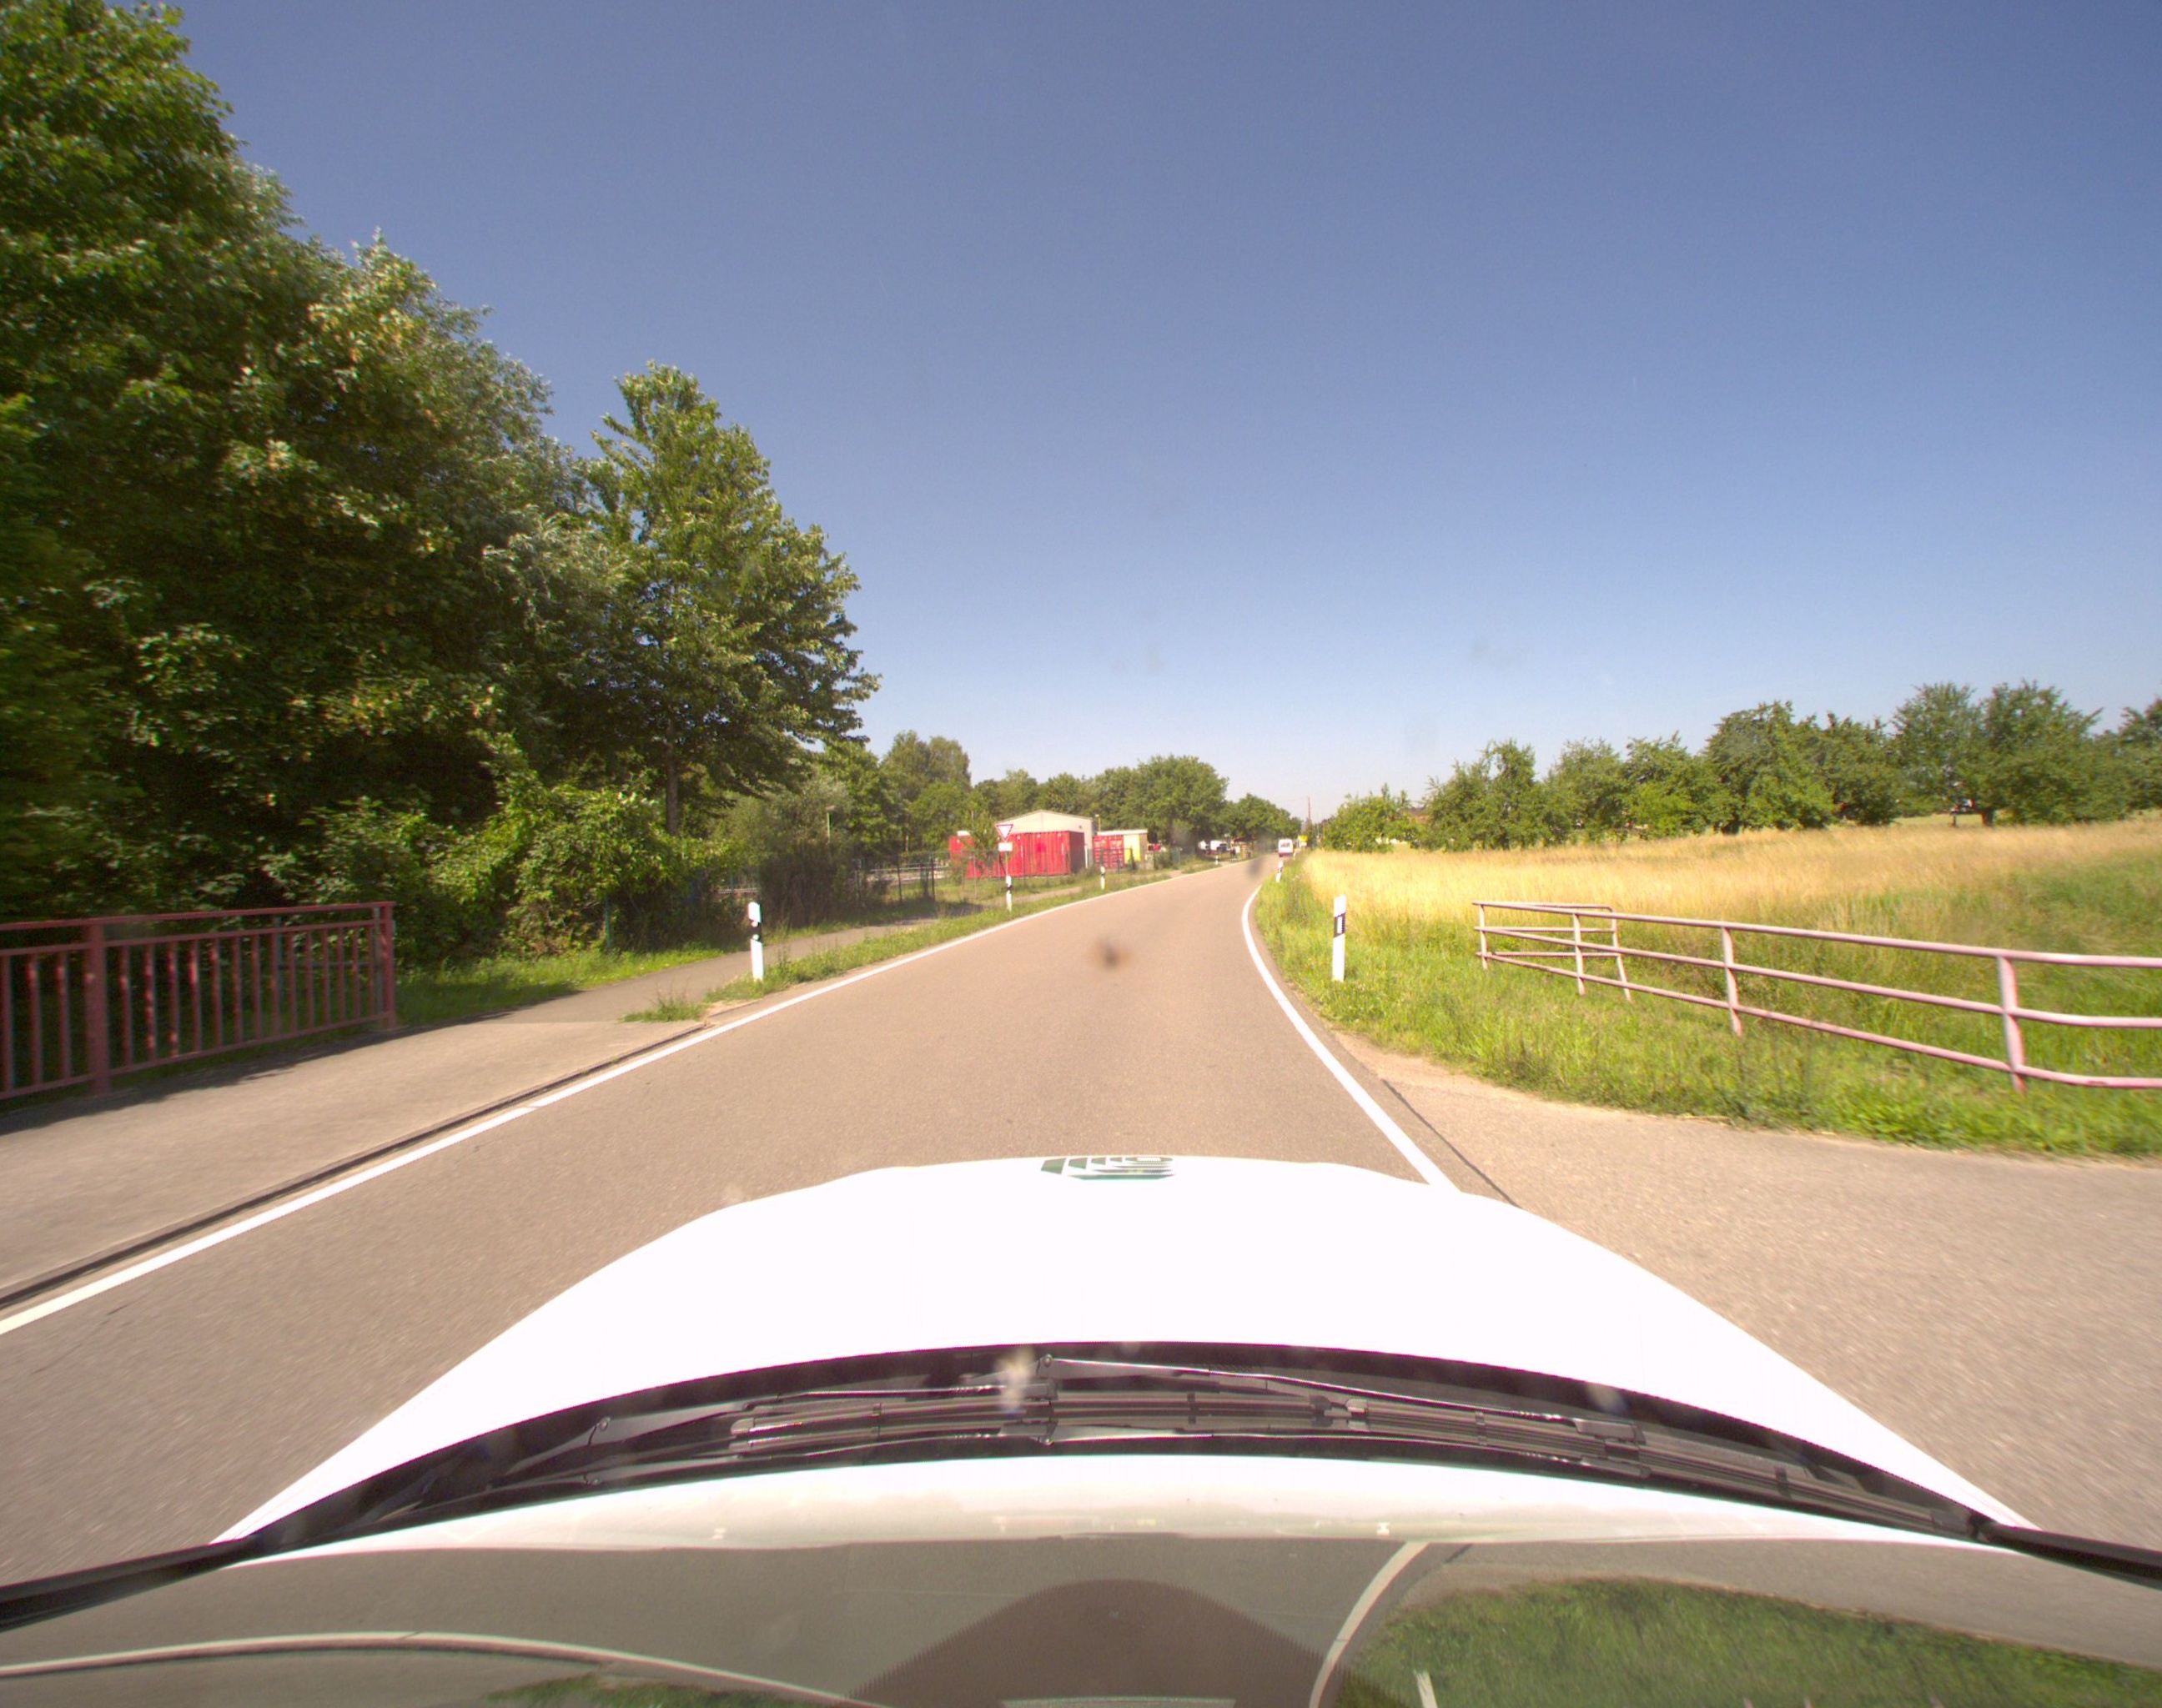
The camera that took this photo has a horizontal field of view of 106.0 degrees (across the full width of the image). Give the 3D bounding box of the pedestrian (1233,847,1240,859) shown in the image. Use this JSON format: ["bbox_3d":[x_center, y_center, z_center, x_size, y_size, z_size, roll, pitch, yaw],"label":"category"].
[{"bbox_3d":[24.846,-0.170,130.363,0.712,1.803,0.715,-3,-1,39],"label":"pedestrian"}]

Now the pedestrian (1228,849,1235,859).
[{"bbox_3d":[24.006,-0.002,130.041,0.670,1.566,0.723,-3,-1,39],"label":"pedestrian"}]

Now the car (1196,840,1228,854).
[{"bbox_3d":[24.563,-1.265,152.145,5.619,2.266,1.985,-3,0,-23],"label":"car"}]

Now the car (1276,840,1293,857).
[{"bbox_3d":[29.286,-0.799,117.123,1.978,2.266,4.747,-3,0,16],"label":"car"}]
